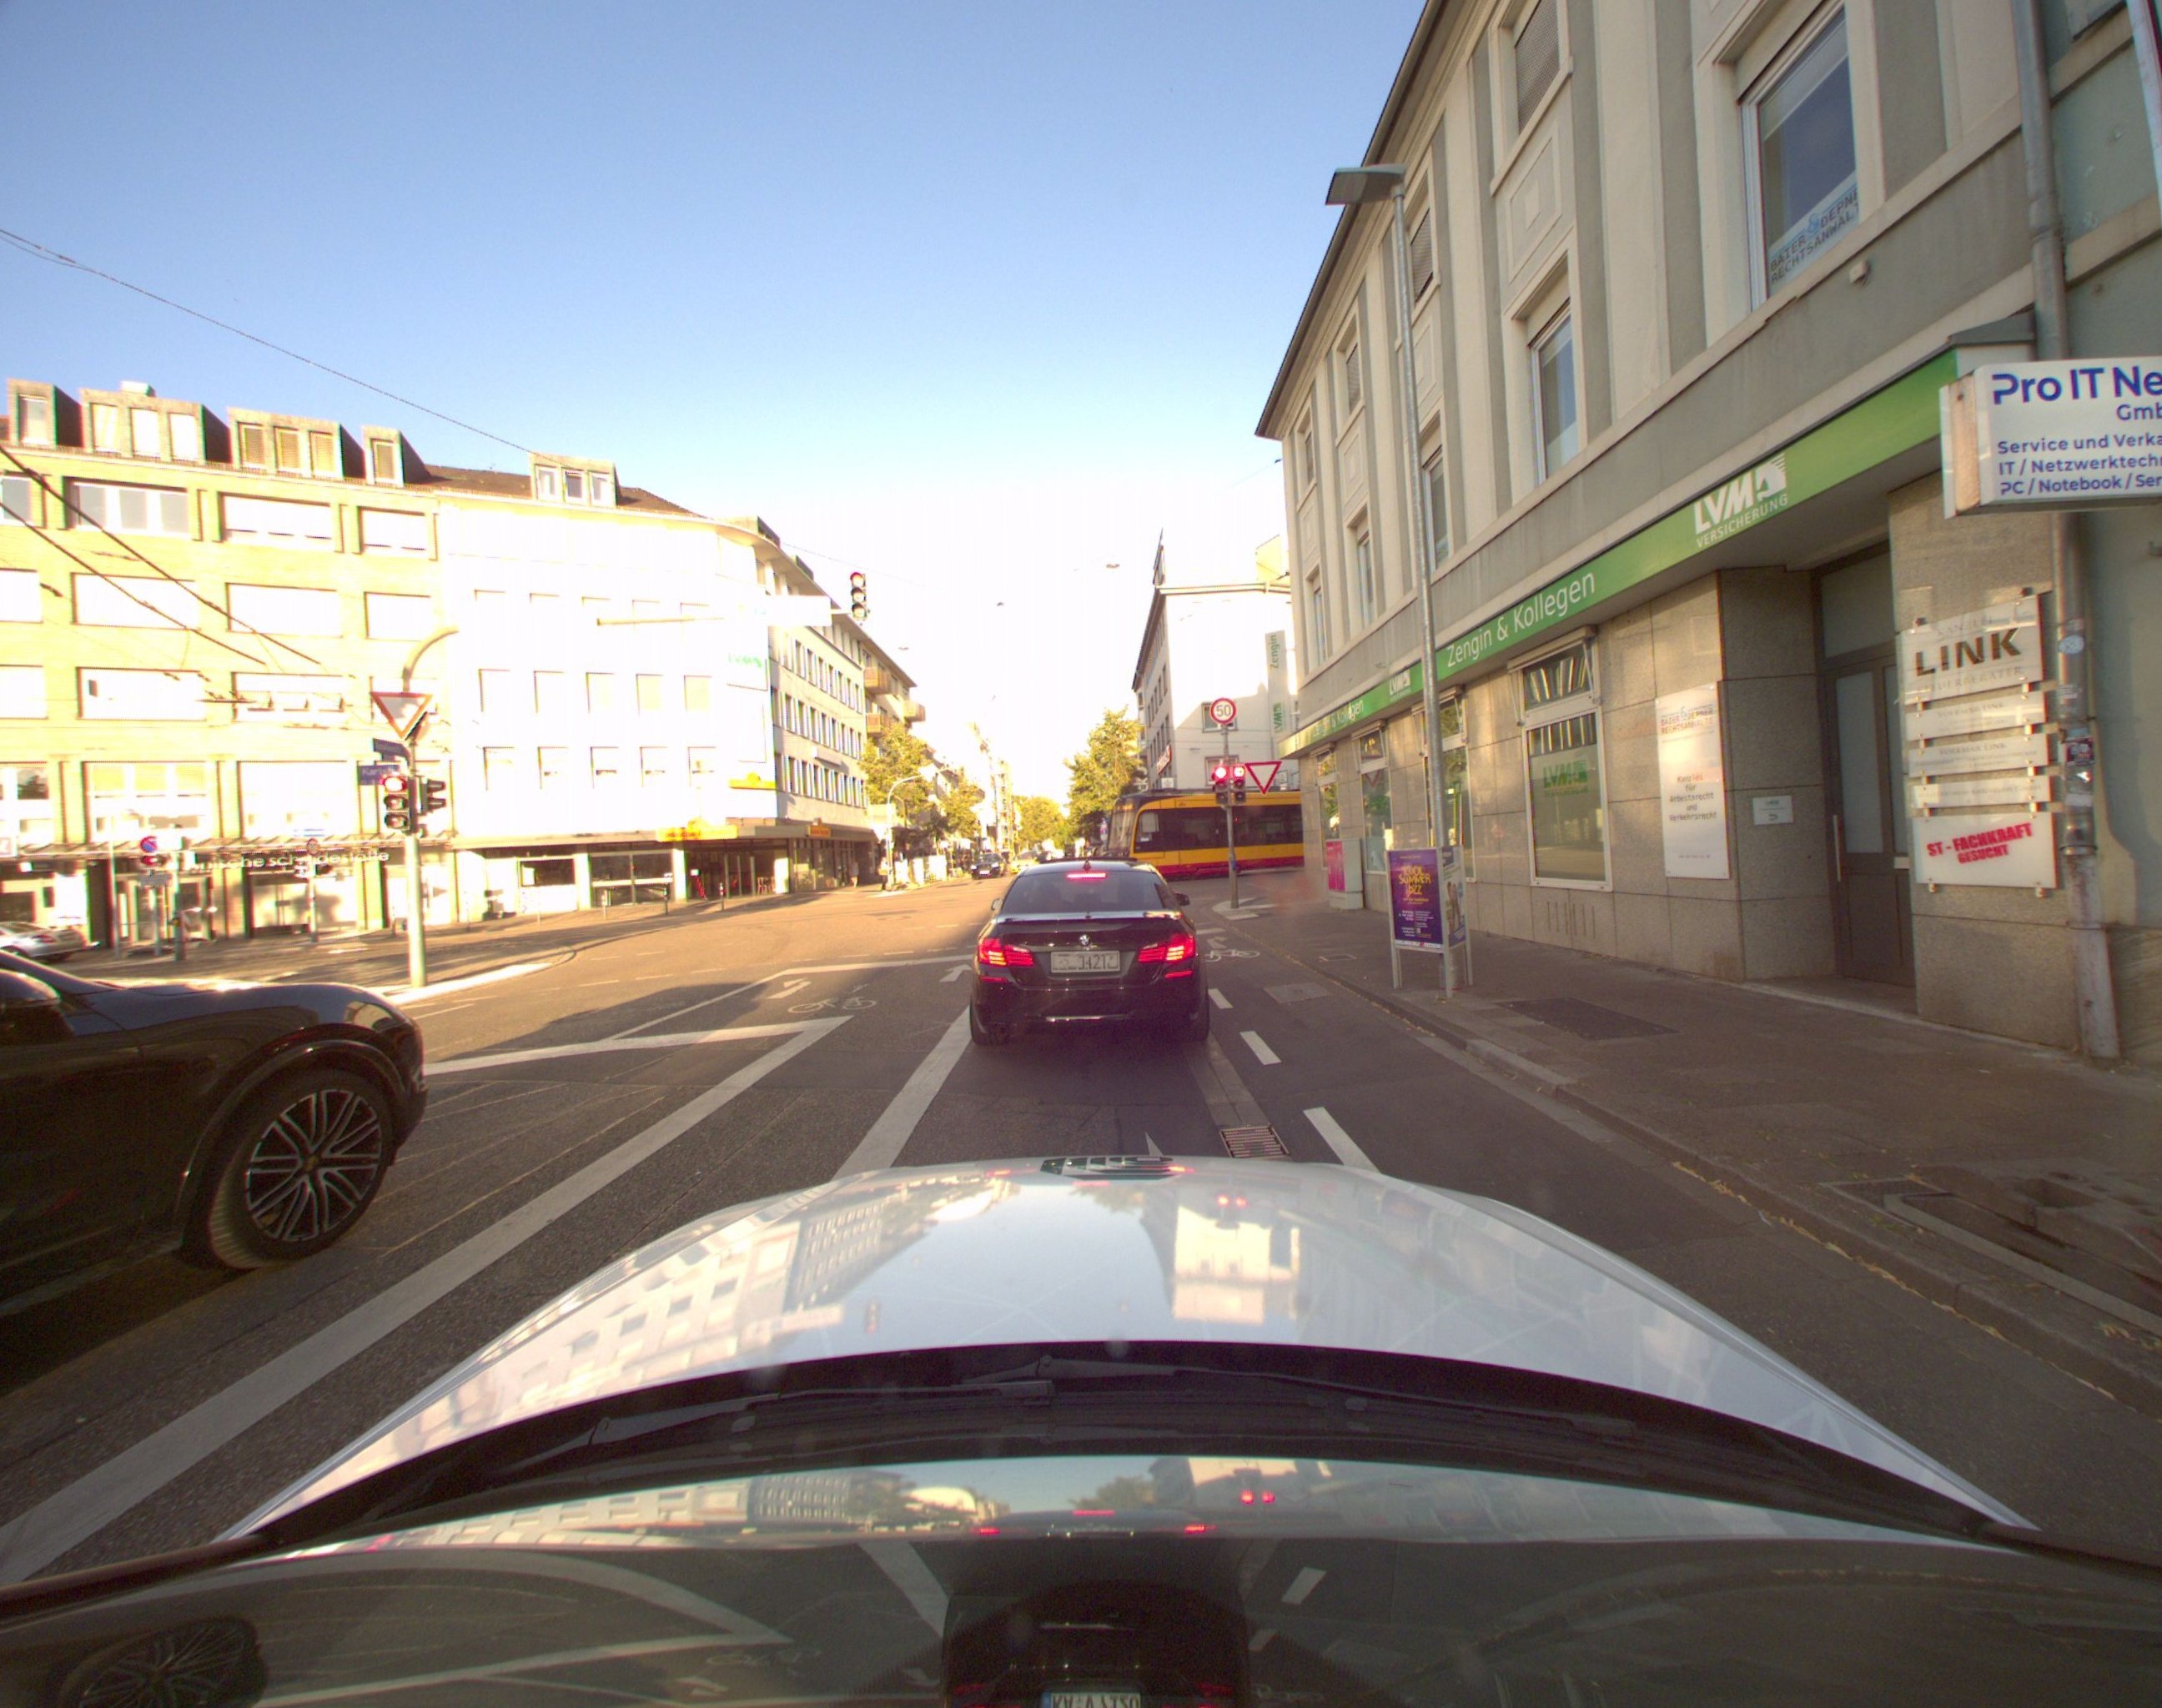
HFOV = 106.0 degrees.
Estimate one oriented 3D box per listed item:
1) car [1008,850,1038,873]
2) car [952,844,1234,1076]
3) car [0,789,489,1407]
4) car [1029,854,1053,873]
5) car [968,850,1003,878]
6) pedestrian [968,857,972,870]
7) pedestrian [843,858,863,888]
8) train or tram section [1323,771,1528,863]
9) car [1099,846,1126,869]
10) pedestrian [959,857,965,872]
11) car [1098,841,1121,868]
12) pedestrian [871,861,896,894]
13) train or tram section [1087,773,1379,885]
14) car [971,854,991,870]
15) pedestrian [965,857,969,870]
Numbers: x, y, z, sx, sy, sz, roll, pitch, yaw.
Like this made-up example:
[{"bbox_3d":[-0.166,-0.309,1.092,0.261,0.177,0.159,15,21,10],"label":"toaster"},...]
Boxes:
[{"bbox_3d":[-4.148,0.514,57.932,1.990,1.442,3.993,-3,0,-5],"label":"car"},{"bbox_3d":[0.070,0.698,7.765,1.898,1.540,4.448,-1,0,-1],"label":"car"},{"bbox_3d":[-4.010,0.739,1.788,1.942,1.714,4.561,-4,0,0],"label":"car"},{"bbox_3d":[-3.194,0.730,64.672,1.731,1.293,3.993,-3,0,-5],"label":"car"},{"bbox_3d":[-6.108,0.647,52.533,1.990,1.618,3.993,-3,0,-5],"label":"car"},{"bbox_3d":[-11.261,0.971,82.801,0.306,1.359,0.284,-3,0,-9],"label":"pedestrian"},{"bbox_3d":[-13.187,1.087,47.146,0.821,1.676,0.871,-3,0,-1],"label":"pedestrian"},{"bbox_3d":[16.730,-1.844,39.239,10.486,3.811,3.053,-4,0,-28],"label":"train or tram section"},{"bbox_3d":[2.110,0.230,54.708,1.620,1.471,3.394,-2,0,0],"label":"car"},{"bbox_3d":[-12.084,1.055,82.526,0.443,1.416,0.525,-4,0,-2],"label":"pedestrian"},{"bbox_3d":[2.137,0.044,61.112,1.417,1.854,3.050,-2,0,-2],"label":"car"},{"bbox_3d":[-9.598,1.130,39.650,0.944,1.537,0.907,-3,0,-3],"label":"pedestrian"},{"bbox_3d":[6.600,-1.156,33.582,12.696,3.865,3.052,-4,0,-30],"label":"train or tram section"},{"bbox_3d":[-9.735,0.763,79.428,1.731,1.461,3.993,-3,0,-5],"label":"car"},{"bbox_3d":[-11.551,0.982,82.686,0.306,1.359,0.284,-3,0,-9],"label":"pedestrian"}]
